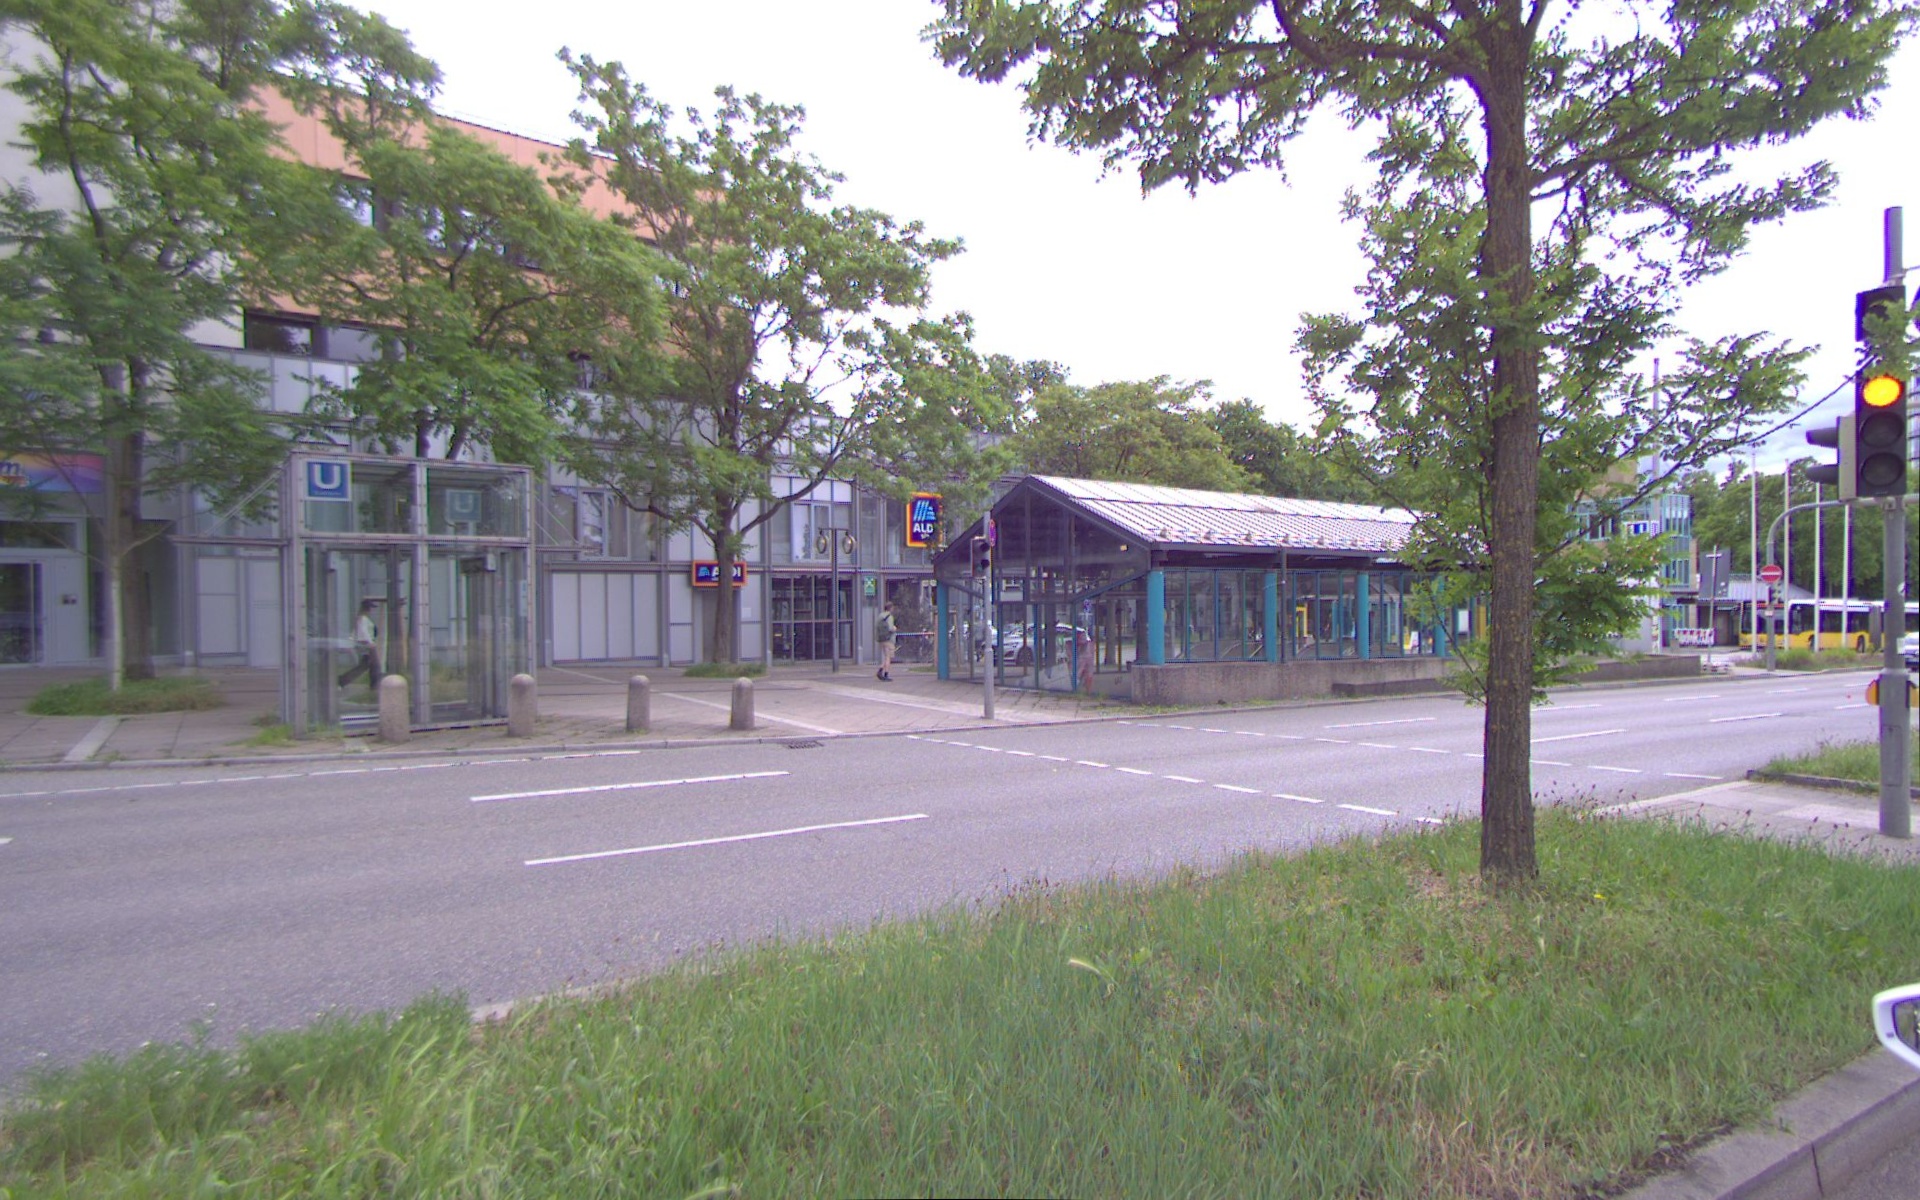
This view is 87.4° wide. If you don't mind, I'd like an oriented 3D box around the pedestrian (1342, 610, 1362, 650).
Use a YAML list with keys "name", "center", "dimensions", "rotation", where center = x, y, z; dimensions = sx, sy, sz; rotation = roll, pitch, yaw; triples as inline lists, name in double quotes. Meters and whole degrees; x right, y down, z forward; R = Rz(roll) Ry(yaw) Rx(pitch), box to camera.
- name: "pedestrian"
  center: [16.684, 1.268, 42.750]
  dimensions: [0.703, 1.677, 0.517]
  rotation: [1, 0, -37]

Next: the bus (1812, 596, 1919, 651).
- name: "bus"
  center: [57.924, 1.537, 63.774]
  dimensions: [7.771, 3.313, 2.980]
  rotation: [1, -1, -26]

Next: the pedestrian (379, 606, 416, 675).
- name: "pedestrian"
  center: [-12.775, 0.915, 22.804]
  dimensions: [0.617, 1.523, 0.562]
  rotation: [1, -1, -40]

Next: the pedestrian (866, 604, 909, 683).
- name: "pedestrian"
  center: [-1.747, 1.040, 24.187]
  dimensions: [0.530, 1.857, 0.916]
  rotation: [0, -1, 44]

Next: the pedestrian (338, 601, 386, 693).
- name: "pedestrian"
  center: [-11.100, 0.856, 18.646]
  dimensions: [0.714, 1.672, 0.672]
  rotation: [1, 0, -34]

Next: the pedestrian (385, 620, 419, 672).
- name: "pedestrian"
  center: [-12.984, 1.070, 23.374]
  dimensions: [0.617, 1.197, 0.417]
  rotation: [1, -1, -40]

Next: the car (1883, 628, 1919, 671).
- name: "car"
  center: [37.553, 1.912, 39.173]
  dimensions: [3.316, 1.599, 1.673]
  rotation: [1, -1, -36]

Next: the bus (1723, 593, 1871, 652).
- name: "bus"
  center: [49.927, 1.376, 59.834]
  dimensions: [10.036, 3.293, 2.980]
  rotation: [1, -1, -26]

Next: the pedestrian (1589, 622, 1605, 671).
- name: "pedestrian"
  center: [21.021, 1.524, 33.154]
  dimensions: [0.412, 1.612, 0.356]
  rotation: [0, -1, 31]

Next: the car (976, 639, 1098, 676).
- name: "car"
  center: [2.681, 1.964, 34.776]
  dimensions: [3.959, 1.184, 1.812]
  rotation: [1, -2, -34]
